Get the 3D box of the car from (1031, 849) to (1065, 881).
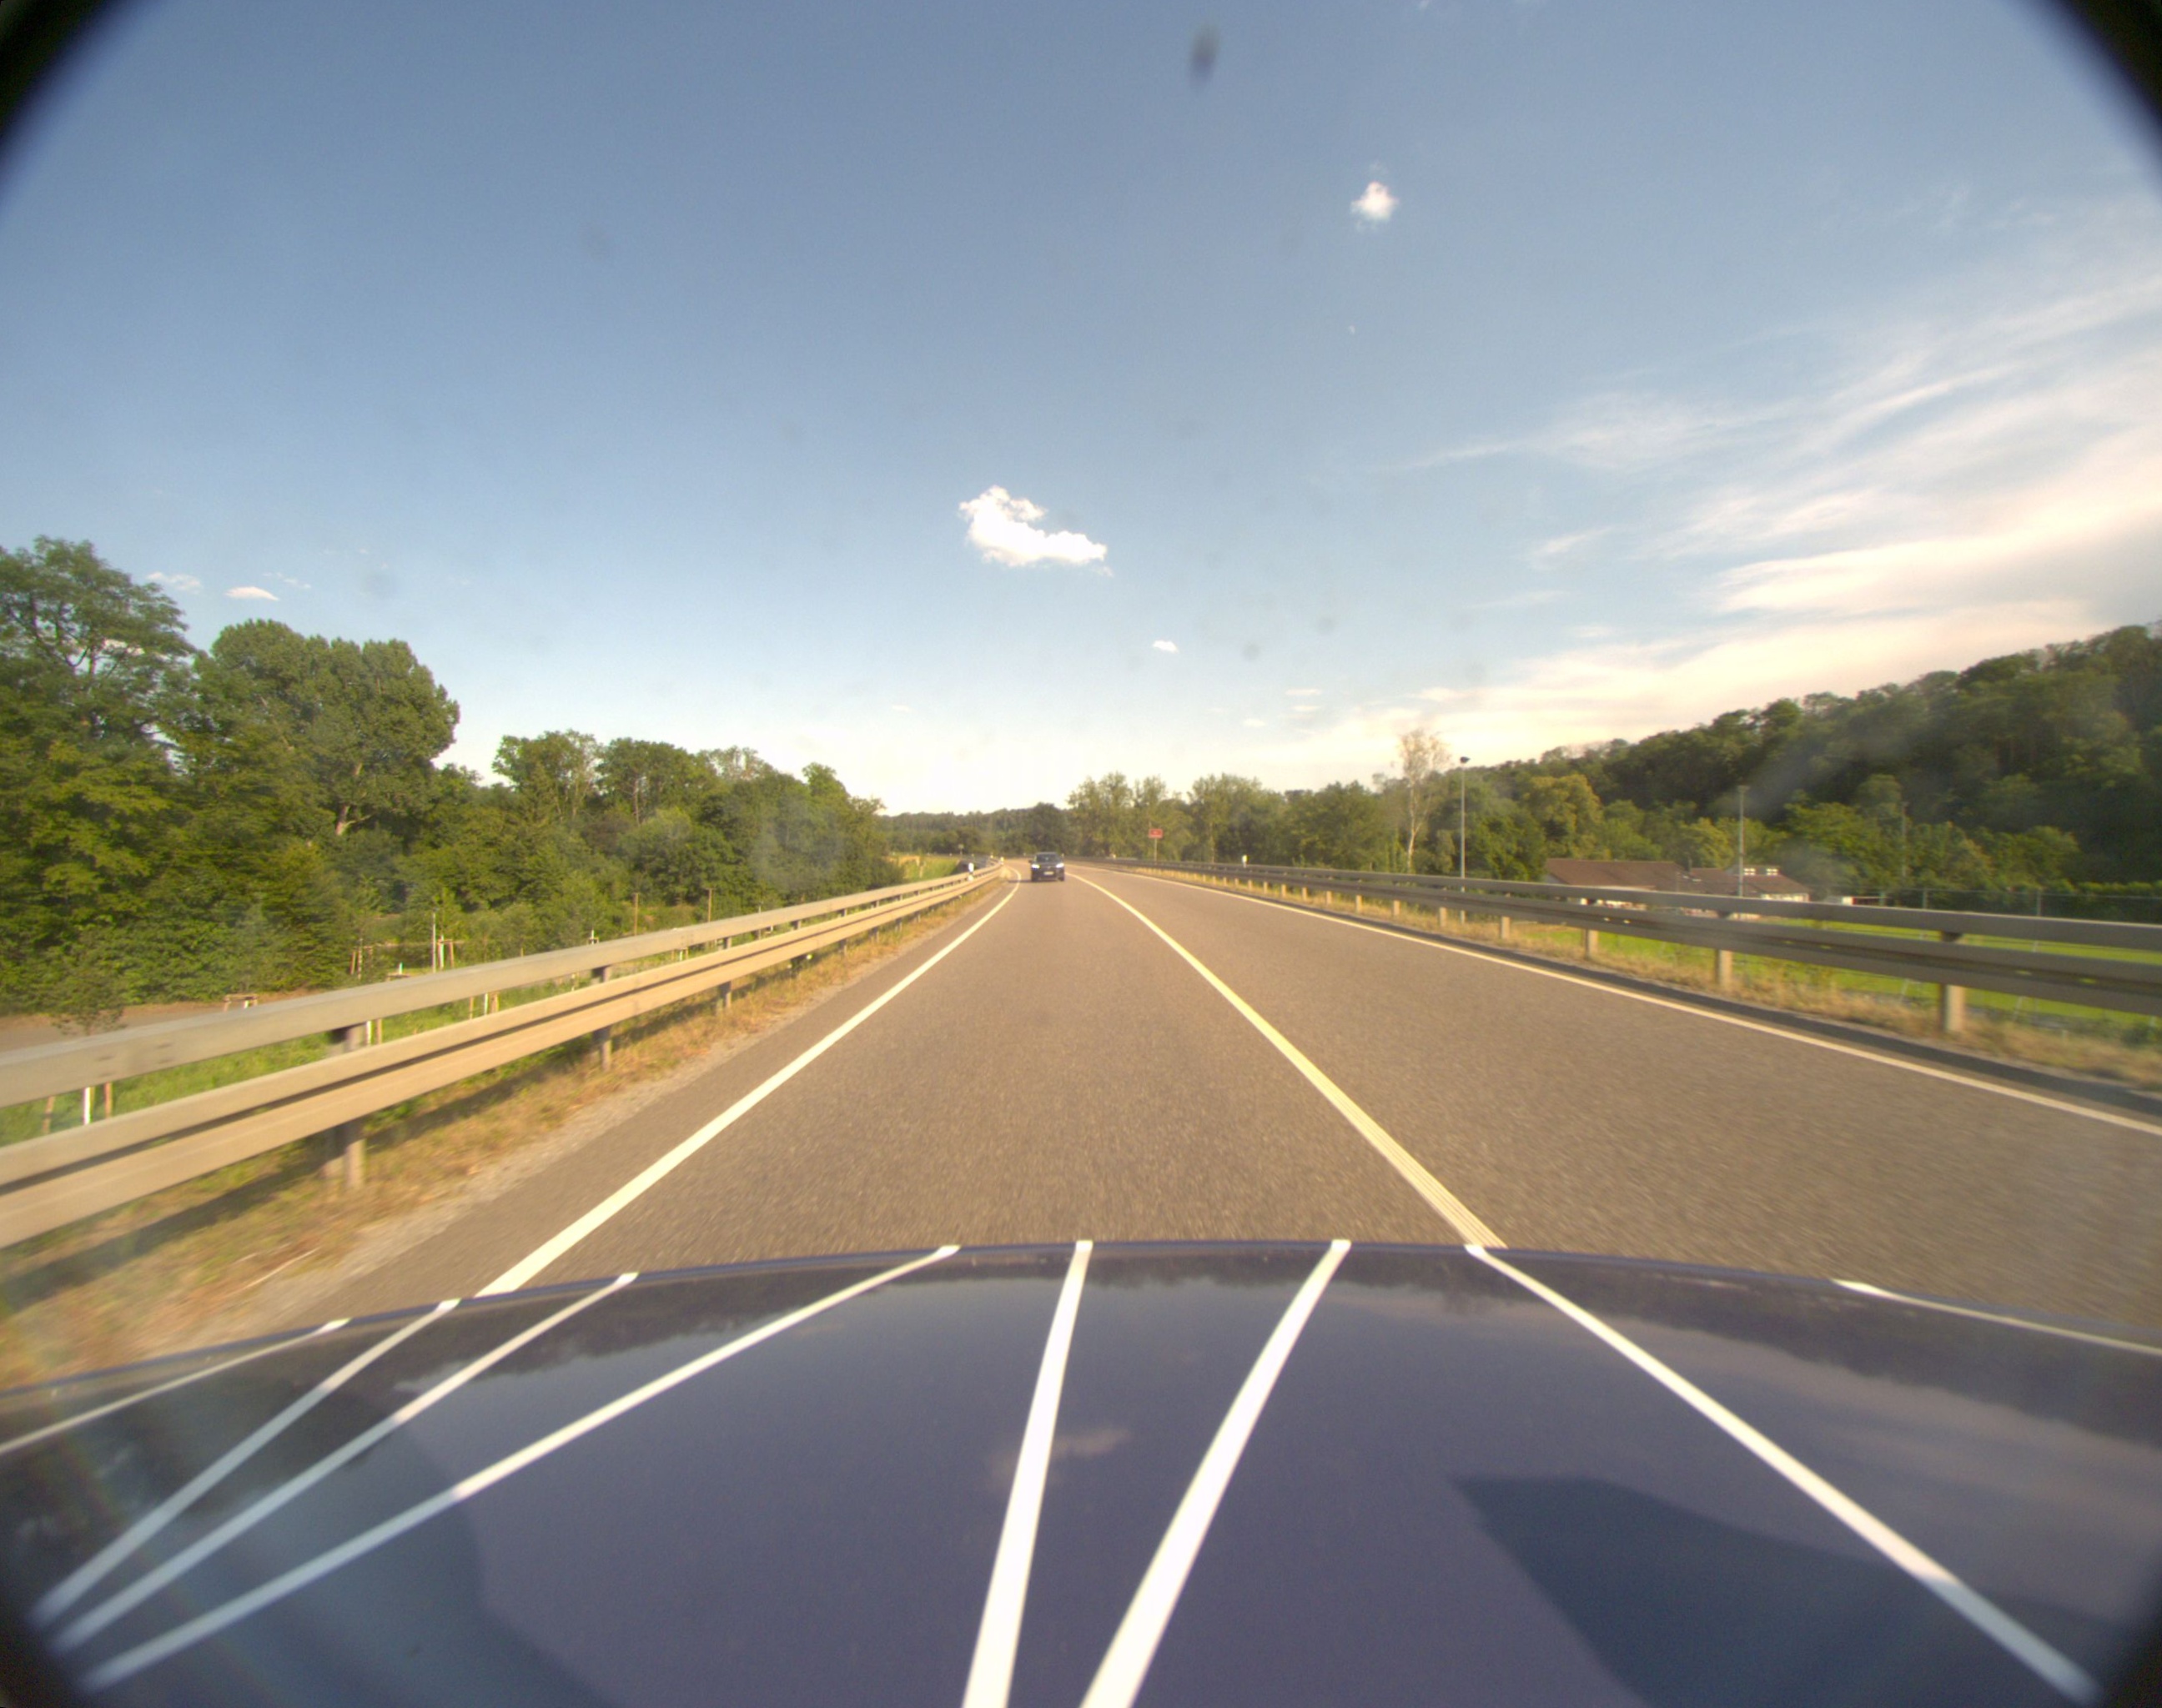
[{"bbox_3d":[-1.913,0.603,43.476,1.751,1.645,4.303,-1,2,-5],"label":"car"}]
